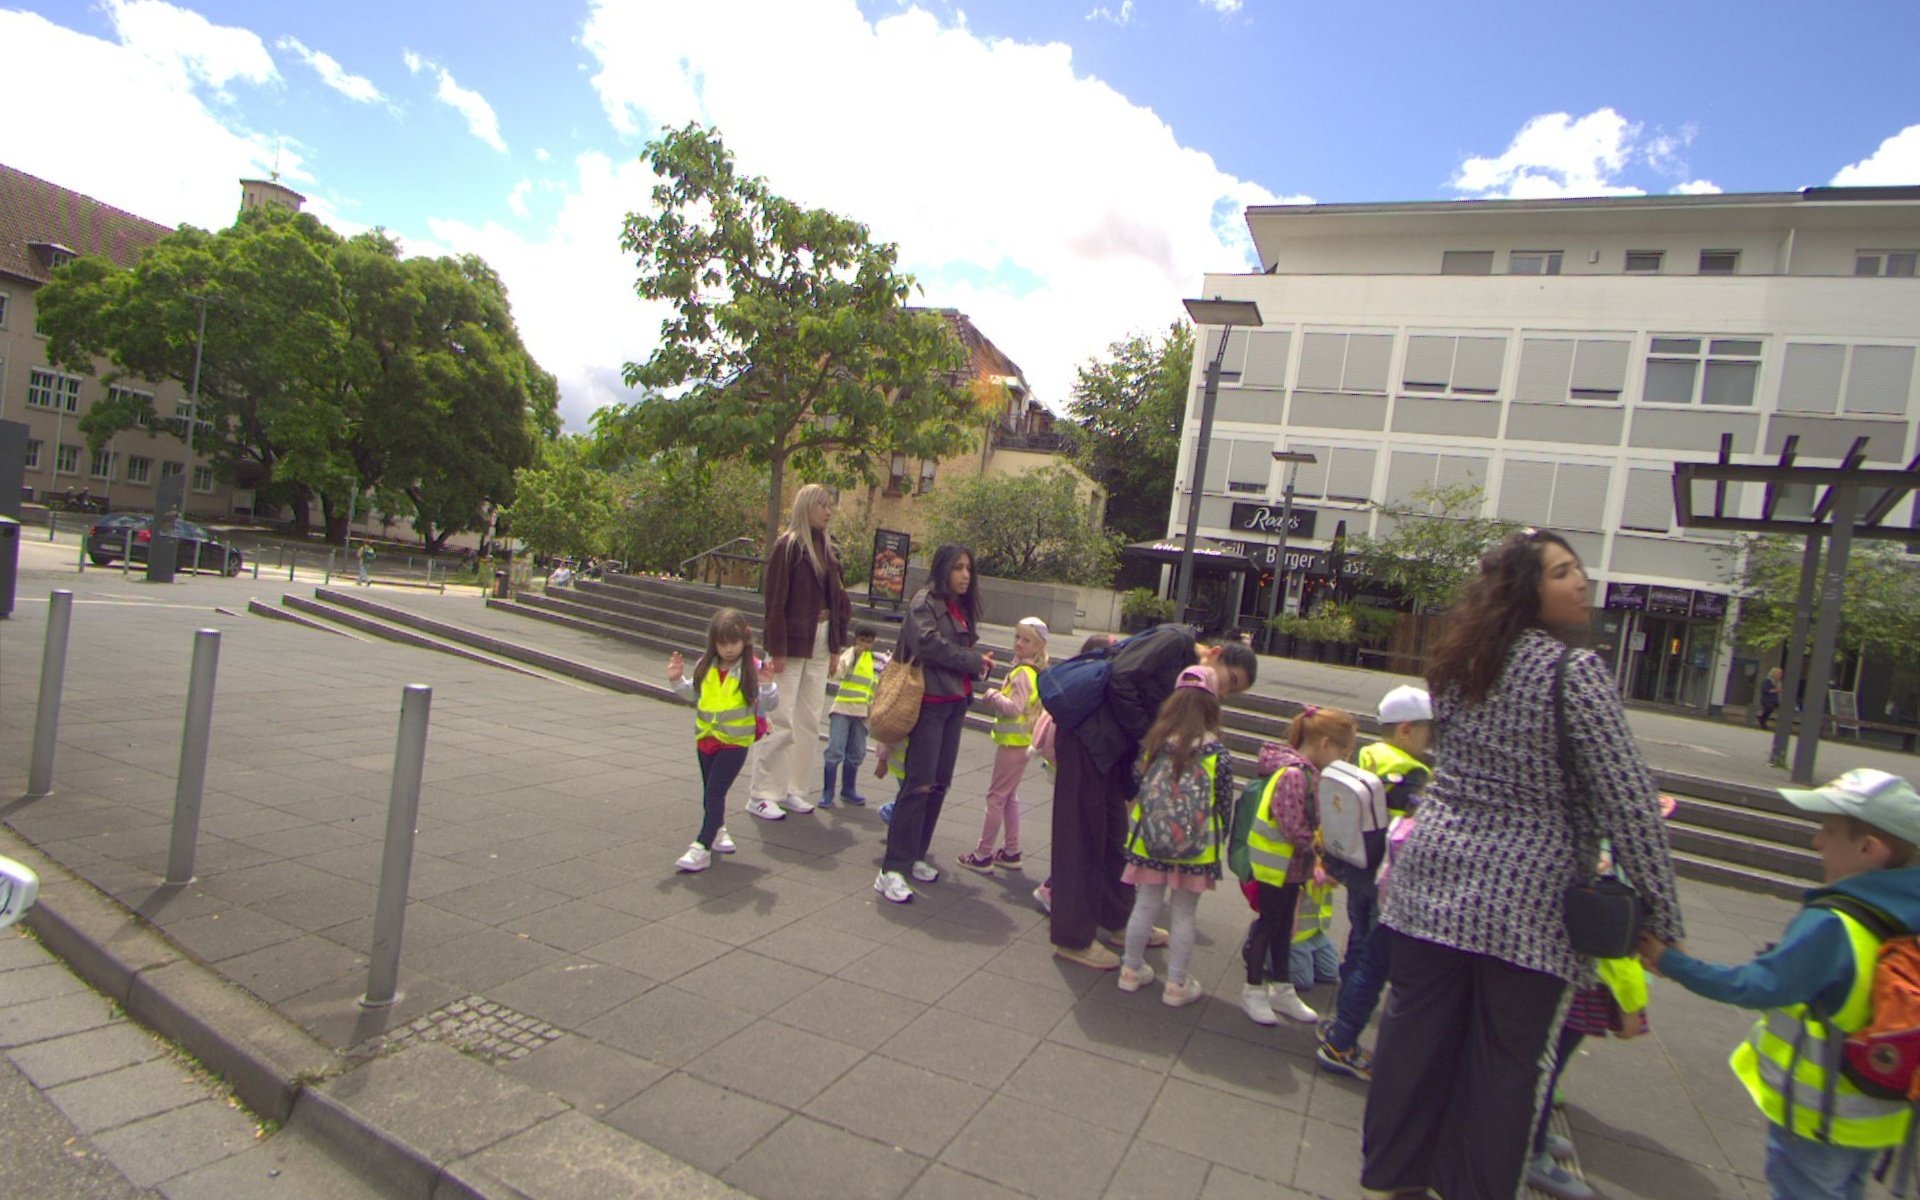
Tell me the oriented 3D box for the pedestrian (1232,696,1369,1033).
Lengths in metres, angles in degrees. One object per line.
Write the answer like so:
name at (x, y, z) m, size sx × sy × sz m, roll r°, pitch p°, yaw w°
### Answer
pedestrian at (1.173, 0.889, 3.473) m, size 0.250 × 1.083 × 0.248 m, roll 3°, pitch 4°, yaw -44°

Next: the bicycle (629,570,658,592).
bicycle at (-19.695, -1.187, 62.627) m, size 1.543 × 1.104 × 0.578 m, roll 8°, pitch 0°, yaw 19°

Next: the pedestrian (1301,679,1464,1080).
pedestrian at (1.329, 0.861, 3.180) m, size 0.248 × 1.189 × 0.250 m, roll 4°, pitch 3°, yaw -29°

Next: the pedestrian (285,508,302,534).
pedestrian at (-41.360, -4.911, 62.418) m, size 0.695 × 1.510 × 0.806 m, roll 8°, pitch -1°, yaw -38°

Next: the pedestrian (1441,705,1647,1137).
pedestrian at (1.717, 0.917, 2.972) m, size 0.294 × 1.167 × 0.291 m, roll 4°, pitch 3°, yaw -27°

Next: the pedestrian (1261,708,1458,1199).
pedestrian at (1.014, 0.873, 2.562) m, size 0.273 × 1.167 × 0.245 m, roll 3°, pitch 3°, yaw -41°

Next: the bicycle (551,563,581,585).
bicycle at (-21.967, -1.434, 56.109) m, size 1.587 × 1.009 × 0.500 m, roll 8°, pitch 0°, yaw 24°

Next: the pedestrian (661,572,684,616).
pedestrian at (-11.526, -0.240, 40.333) m, size 0.498 × 1.649 × 0.509 m, roll 7°, pitch 0°, yaw 35°

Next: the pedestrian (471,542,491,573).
pedestrian at (-26.385, -2.338, 55.404) m, size 0.572 × 1.596 × 0.616 m, roll 7°, pitch 0°, yaw 7°

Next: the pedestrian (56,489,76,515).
pedestrian at (-44.923, -4.908, 50.556) m, size 0.482 × 1.196 × 0.577 m, roll 8°, pitch -1°, yaw -25°

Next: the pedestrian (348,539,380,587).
pedestrian at (-20.698, -1.279, 34.920) m, size 0.775 × 1.534 × 0.550 m, roll 10°, pitch 3°, yaw 34°

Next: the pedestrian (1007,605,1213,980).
pedestrian at (0.556, 0.711, 3.873) m, size 0.588 × 1.321 × 0.432 m, roll 5°, pitch 3°, yaw -4°

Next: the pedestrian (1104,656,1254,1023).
pedestrian at (0.749, 0.810, 3.506) m, size 0.345 × 1.182 × 0.335 m, roll 4°, pitch 3°, yaw -2°

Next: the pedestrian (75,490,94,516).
pedestrian at (-44.789, -4.969, 51.463) m, size 0.482 × 1.236 × 0.577 m, roll 8°, pitch -1°, yaw -25°

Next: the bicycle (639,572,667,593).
bicycle at (-19.327, -1.116, 63.314) m, size 1.543 × 1.082 × 0.539 m, roll 8°, pitch 0°, yaw 19°

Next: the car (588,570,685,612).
car at (-14.688, -0.374, 45.912) m, size 1.828 × 1.422 × 4.377 m, roll 7°, pitch -1°, yaw 19°

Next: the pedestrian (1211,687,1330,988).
pedestrian at (1.197, 0.894, 3.880) m, size 0.248 × 1.083 × 0.250 m, roll 8°, pitch 3°, yaw 40°

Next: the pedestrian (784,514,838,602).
pedestrian at (-2.367, -0.668, 15.978) m, size 0.631 × 1.302 × 0.363 m, roll 8°, pitch 2°, yaw 35°

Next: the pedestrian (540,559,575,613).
pedestrian at (-13.958, -0.464, 34.907) m, size 0.694 × 1.767 × 0.776 m, roll 7°, pitch 0°, yaw 1°

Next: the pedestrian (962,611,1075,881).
pedestrian at (0.289, 0.700, 4.975) m, size 0.329 × 1.255 × 0.323 m, roll 7°, pitch 3°, yaw 33°

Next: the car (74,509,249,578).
car at (-21.068, -1.436, 26.757) m, size 1.585 × 1.399 × 3.835 m, roll 8°, pitch -1°, yaw -3°

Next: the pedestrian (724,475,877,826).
pedestrian at (-0.887, 0.267, 5.598) m, size 0.429 × 1.847 × 0.538 m, roll 8°, pitch 3°, yaw 42°

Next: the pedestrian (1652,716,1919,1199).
pedestrian at (1.658, 0.872, 1.926) m, size 0.400 × 1.242 × 0.384 m, roll 5°, pitch 2°, yaw -38°

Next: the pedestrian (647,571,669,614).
pedestrian at (-11.923, -0.303, 39.704) m, size 0.548 × 1.649 × 0.673 m, roll 7°, pitch -1°, yaw -27°

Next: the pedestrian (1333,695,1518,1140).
pedestrian at (1.312, 0.882, 2.866) m, size 0.266 × 1.176 × 0.264 m, roll 6°, pitch 3°, yaw 0°

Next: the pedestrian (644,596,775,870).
pedestrian at (-1.164, 0.601, 4.649) m, size 0.469 × 1.188 × 0.389 m, roll 5°, pitch 3°, yaw -17°

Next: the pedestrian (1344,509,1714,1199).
pedestrian at (1.269, 0.642, 2.272) m, size 0.385 × 1.641 × 0.463 m, roll 3°, pitch 4°, yaw -43°

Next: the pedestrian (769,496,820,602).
pedestrian at (-2.519, -0.767, 15.278) m, size 0.498 × 1.527 × 0.451 m, roll 6°, pitch 2°, yaw -26°

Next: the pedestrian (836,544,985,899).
pedestrian at (-0.227, 0.538, 4.645) m, size 0.384 × 1.537 × 0.389 m, roll 7°, pitch 3°, yaw 36°

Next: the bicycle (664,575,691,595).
bicycle at (-18.502, -0.997, 65.848) m, size 1.543 × 1.104 × 0.578 m, roll 8°, pitch 0°, yaw 19°

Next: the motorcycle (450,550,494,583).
motorcycle at (-24.535, -1.691, 50.529) m, size 2.099 × 1.306 × 0.582 m, roll 9°, pitch 3°, yaw 20°

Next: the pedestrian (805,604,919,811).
pedestrian at (-0.591, 0.633, 6.071) m, size 0.378 × 1.163 × 0.438 m, roll 8°, pitch 3°, yaw 43°

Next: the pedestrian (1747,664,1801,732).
pedestrian at (17.439, 2.089, 21.566) m, size 0.535 × 1.340 × 0.569 m, roll 7°, pitch 0°, yaw 3°

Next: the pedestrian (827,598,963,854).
pedestrian at (-0.342, 0.627, 5.193) m, size 0.387 × 1.214 × 0.506 m, roll 4°, pitch 3°, yaw -35°

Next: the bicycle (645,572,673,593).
bicycle at (-19.180, -1.115, 64.095) m, size 1.543 × 1.104 × 0.578 m, roll 8°, pitch 0°, yaw 19°
